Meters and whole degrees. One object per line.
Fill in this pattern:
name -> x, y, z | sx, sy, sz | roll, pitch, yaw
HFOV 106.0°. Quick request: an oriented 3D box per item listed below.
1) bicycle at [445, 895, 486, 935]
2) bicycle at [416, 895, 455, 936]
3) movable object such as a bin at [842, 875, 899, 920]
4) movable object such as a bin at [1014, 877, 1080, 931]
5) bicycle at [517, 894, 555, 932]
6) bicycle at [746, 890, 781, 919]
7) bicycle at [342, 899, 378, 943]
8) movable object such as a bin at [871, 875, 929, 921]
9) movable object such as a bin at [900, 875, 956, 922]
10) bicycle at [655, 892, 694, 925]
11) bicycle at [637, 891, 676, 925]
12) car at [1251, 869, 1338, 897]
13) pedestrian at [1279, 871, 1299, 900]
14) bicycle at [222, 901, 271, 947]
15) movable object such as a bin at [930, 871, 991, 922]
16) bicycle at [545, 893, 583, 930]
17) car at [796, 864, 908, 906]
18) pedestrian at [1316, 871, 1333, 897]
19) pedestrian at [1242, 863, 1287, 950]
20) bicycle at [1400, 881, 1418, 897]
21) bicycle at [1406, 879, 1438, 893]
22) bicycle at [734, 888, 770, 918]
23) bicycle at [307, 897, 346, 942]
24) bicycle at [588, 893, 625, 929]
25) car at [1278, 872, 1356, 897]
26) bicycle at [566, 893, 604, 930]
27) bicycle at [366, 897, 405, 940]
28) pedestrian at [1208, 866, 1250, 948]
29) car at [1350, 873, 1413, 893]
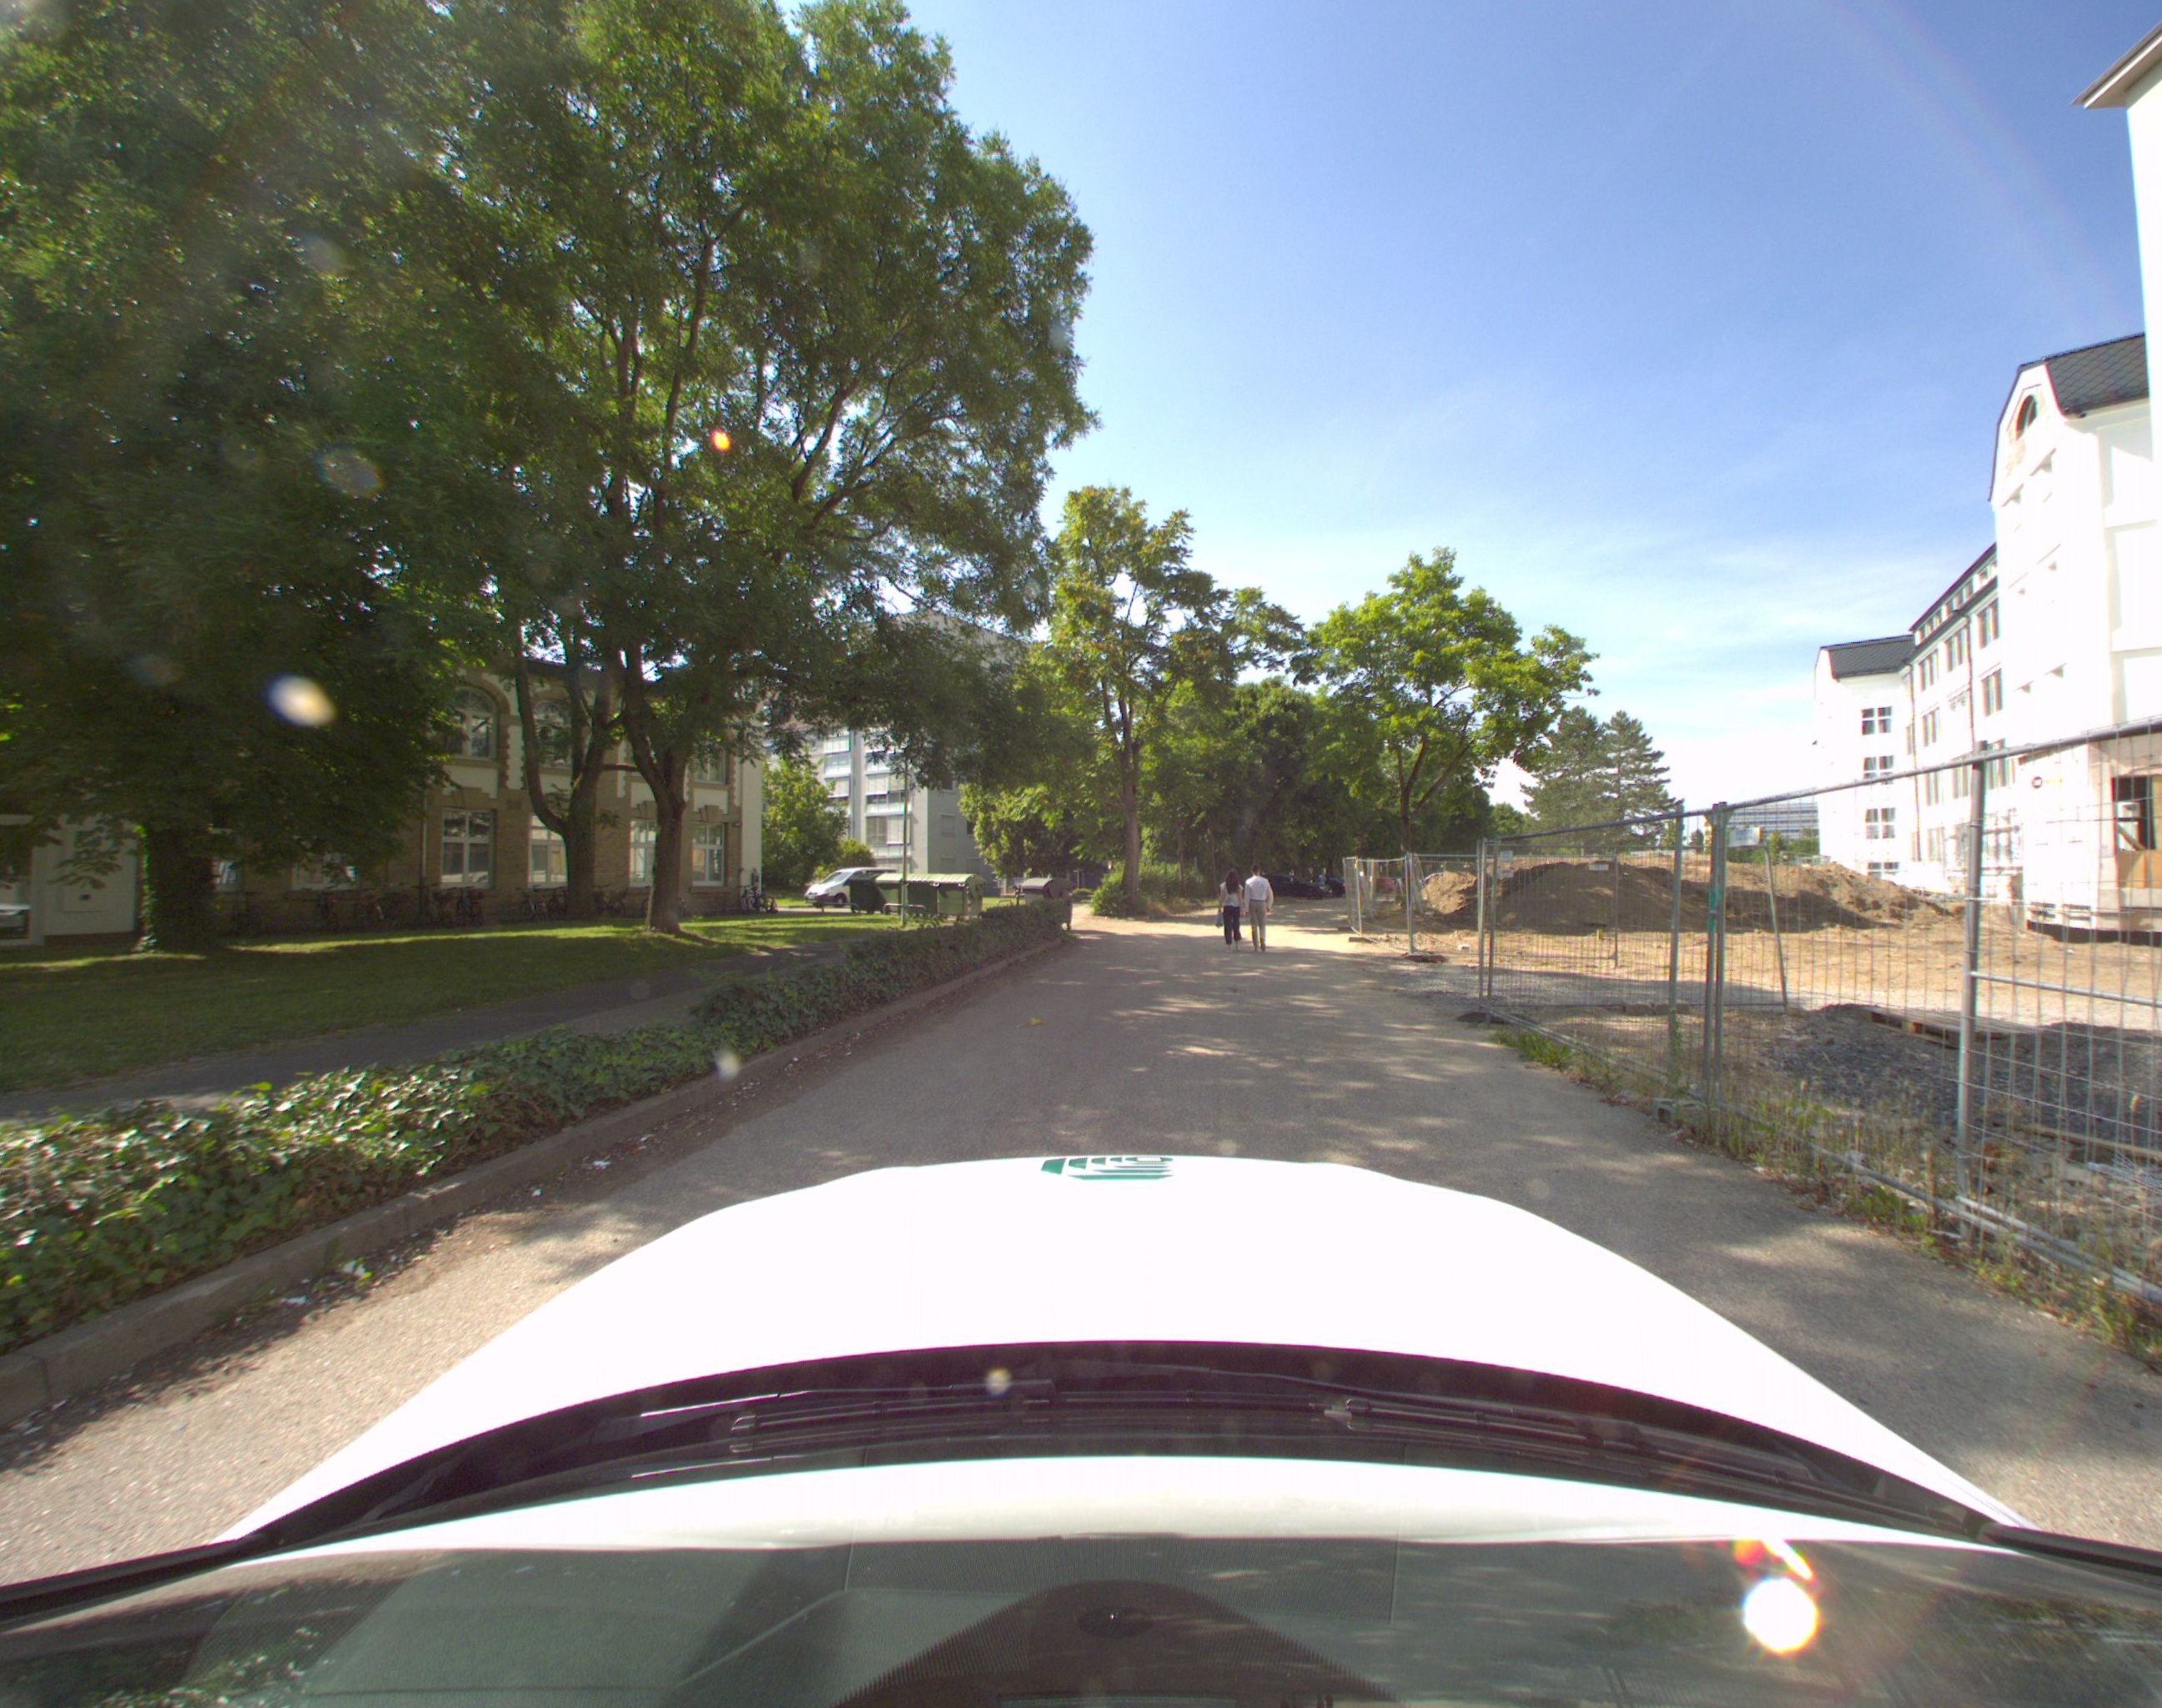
bicycle -> -16.337, 1.597, 21.613 | 1.521, 0.992, 0.449 | -1, -1, 36
bicycle -> -16.650, 1.570, 21.001 | 1.521, 0.992, 0.448 | -1, -1, 38
movable object such as a bin -> -7.013, 1.419, 27.125 | 1.332, 1.431, 1.256 | -2, -2, 35
movable object such as a bin -> -0.931, 1.327, 22.153 | 1.254, 1.397, 1.388 | 1, -2, -36
bicycle -> -15.352, 1.637, 22.932 | 1.521, 0.992, 0.448 | -1, -1, 38
bicycle -> -11.318, 1.782, 29.023 | 1.521, 0.992, 0.448 | -1, -1, 38
bicycle -> -17.565, 1.611, 19.836 | 1.579, 0.989, 0.377 | -2, -2, 38
movable object such as a bin -> -5.823, 1.390, 26.224 | 1.348, 1.431, 1.256 | -2, -2, 35
movable object such as a bin -> -4.747, 1.372, 25.375 | 1.208, 1.431, 1.255 | -1, -2, 25
bicycle -> -13.083, 1.727, 26.172 | 1.663, 0.992, 0.448 | -1, -1, 38
bicycle -> -13.409, 1.694, 25.726 | 1.645, 0.992, 0.448 | -1, -1, 38
car -> 12.601, 1.667, 48.064 | 4.613, 1.584, 2.012 | -1, -1, 26
pedestrian -> 12.724, 1.929, 49.839 | 1.004, 1.781, 0.825 | -1, -2, 27
bicycle -> -18.693, 1.550, 18.235 | 1.521, 0.993, 0.448 | -2, -4, 34
movable object such as a bin -> -3.632, 1.267, 24.550 | 1.322, 1.481, 1.256 | -1, -2, 30
bicycle -> -14.980, 1.658, 23.594 | 1.521, 0.992, 0.448 | -1, -1, 38
car -> -11.058, 1.483, 39.686 | 1.974, 1.933, 5.072 | -2, -2, 37
pedestrian -> 15.442, 1.905, 51.648 | 0.916, 1.595, 0.790 | -1, -1, 27
pedestrian -> 3.749, 1.046, 16.691 | 0.752, 1.728, 0.854 | 0, -1, 1
bicycle -> 28.242, 3.015, 70.073 | 0.808, 1.284, 2.701 | -1, -2, 35
bicycle -> 31.628, 2.949, 75.634 | 2.650, 1.284, 0.824 | -1, -2, 29
bicycle -> -11.561, 1.703, 28.594 | 1.609, 0.992, 0.448 | -1, -1, 38
bicycle -> -17.880, 1.529, 19.286 | 1.521, 0.992, 0.448 | -1, -1, 38
bicycle -> -14.305, 1.702, 24.540 | 1.521, 0.992, 0.448 | -1, -1, 38
car -> 15.450, 1.962, 53.288 | 4.613, 1.584, 2.012 | -1, -1, 26
bicycle -> -14.657, 1.684, 24.048 | 1.521, 0.992, 0.448 | -1, -1, 38
bicycle -> -17.286, 1.581, 20.235 | 1.521, 0.992, 0.448 | -1, -1, 38
pedestrian -> 3.061, 1.083, 16.862 | 0.732, 1.640, 0.781 | 0, -1, 1
car -> 23.099, 2.221, 62.618 | 4.244, 1.524, 1.904 | -1, -2, 33
